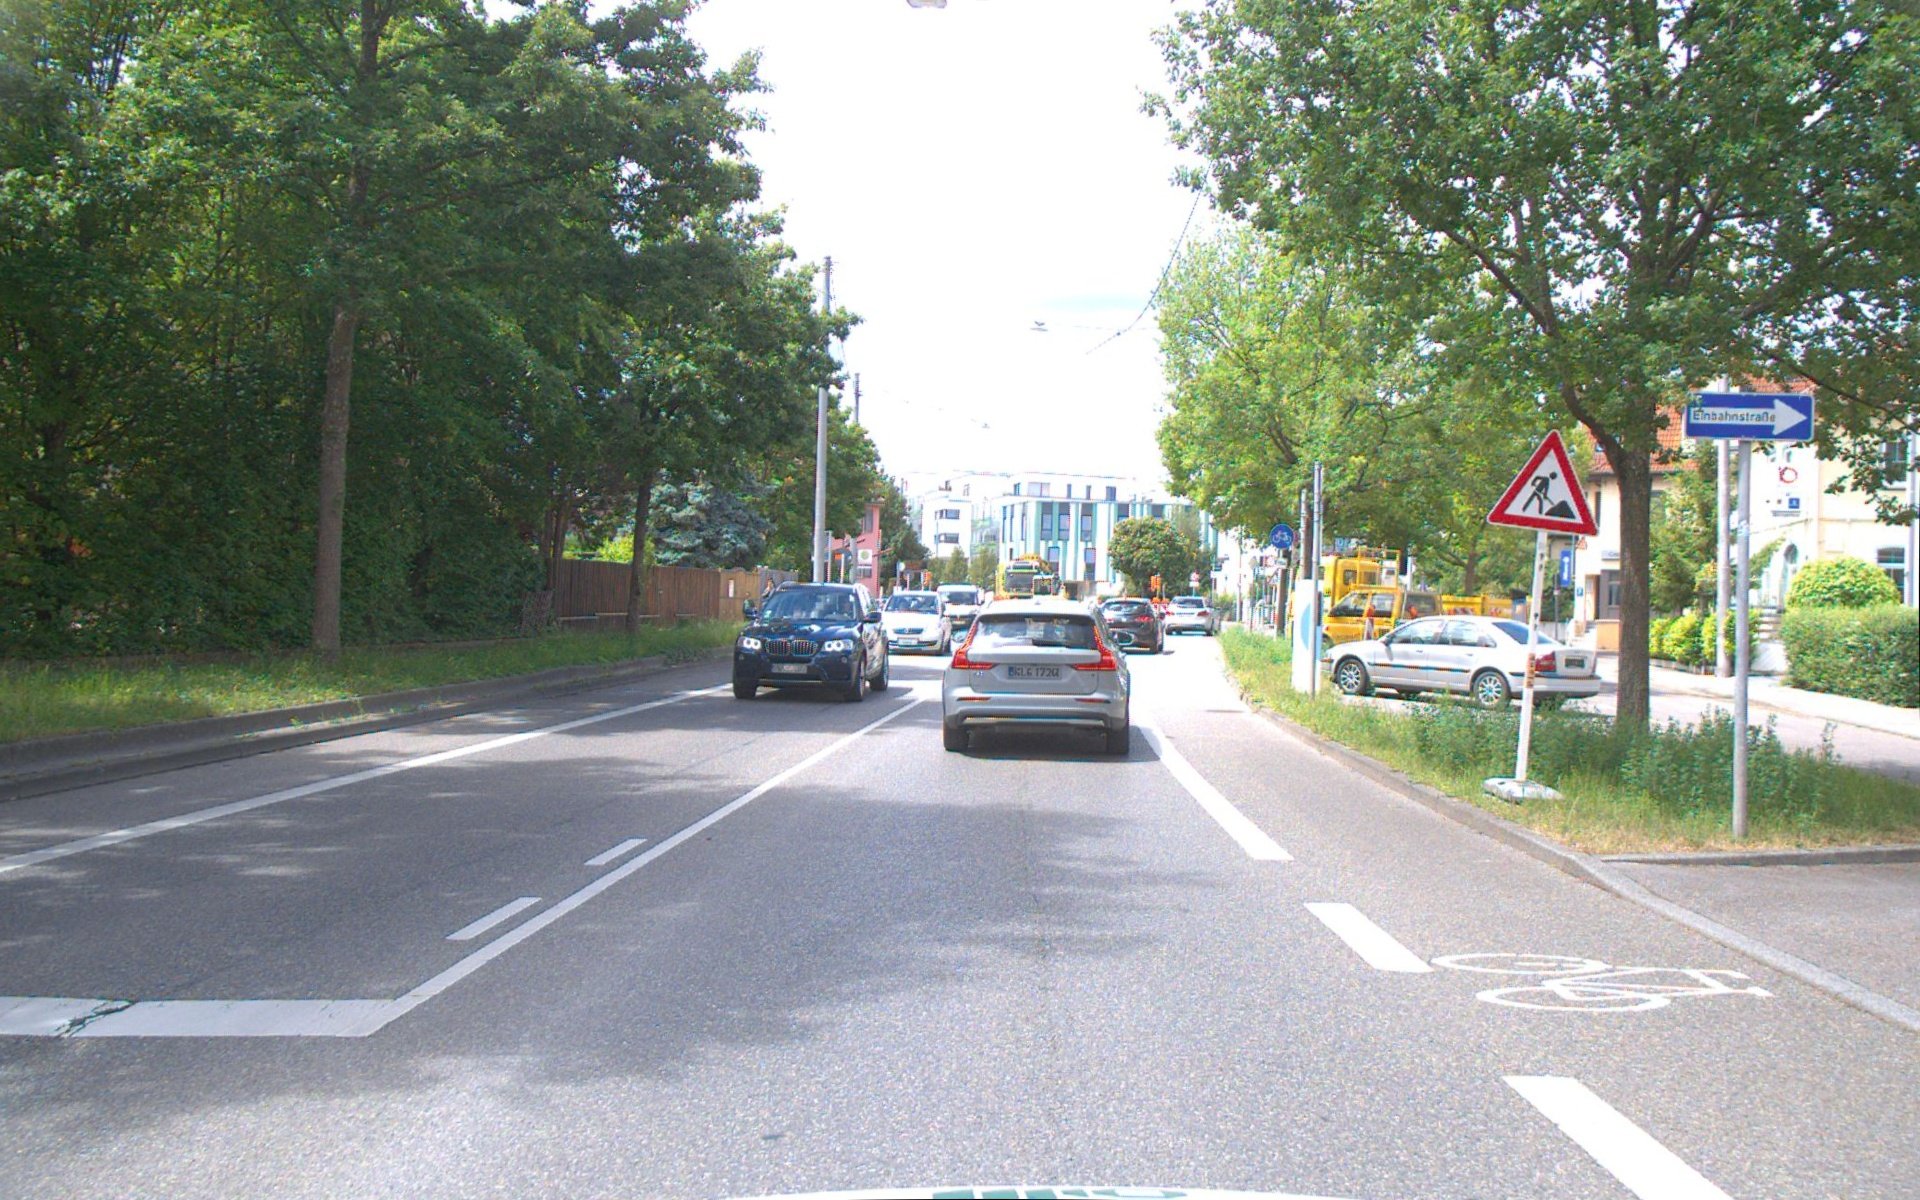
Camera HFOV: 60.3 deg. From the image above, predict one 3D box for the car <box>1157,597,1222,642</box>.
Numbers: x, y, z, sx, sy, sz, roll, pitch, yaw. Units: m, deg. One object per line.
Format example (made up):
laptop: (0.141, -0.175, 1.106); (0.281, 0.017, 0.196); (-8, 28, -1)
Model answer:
car: (8.922, 0.788, 64.579); (2.059, 1.536, 4.001); (4, -1, 3)

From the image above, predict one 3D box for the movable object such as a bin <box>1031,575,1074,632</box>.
movable object such as a bin: (4.610, 0.179, 82.047); (1.992, 2.689, 5.942); (1, 0, 3)

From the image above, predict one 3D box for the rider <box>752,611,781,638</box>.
rider: (-5.756, 0.723, 49.204); (0.714, 0.747, 0.690); (4, -2, 1)

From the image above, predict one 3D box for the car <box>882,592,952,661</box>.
car: (-1.076, 0.683, 42.710); (1.673, 1.646, 3.999); (2, -1, -1)

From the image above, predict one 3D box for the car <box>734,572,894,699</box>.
car: (-2.072, 0.489, 24.656); (1.841, 1.717, 4.248); (0, 0, 2)

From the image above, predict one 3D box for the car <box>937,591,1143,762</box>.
car: (0.834, 0.714, 17.218); (1.887, 1.567, 4.001); (0, 0, 3)

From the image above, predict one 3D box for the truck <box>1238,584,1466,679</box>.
truck: (9.932, 0.765, 42.356); (1.980, 2.048, 5.600); (5, -1, -38)

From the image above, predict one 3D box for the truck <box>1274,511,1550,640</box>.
truck: (12.018, -0.708, 44.391); (2.746, 3.060, 6.606); (5, -2, -42)

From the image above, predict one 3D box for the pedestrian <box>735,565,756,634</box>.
pedestrian: (-6.476, 0.000, 49.870); (0.394, 2.049, 0.414); (4, -1, 6)

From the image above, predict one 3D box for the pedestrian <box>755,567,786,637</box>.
pedestrian: (-5.727, 0.075, 50.035); (0.700, 2.049, 0.771); (4, -1, 1)

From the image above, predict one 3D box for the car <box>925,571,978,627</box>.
car: (-0.305, 0.012, 63.630); (1.811, 1.907, 4.593); (5, -1, 0)

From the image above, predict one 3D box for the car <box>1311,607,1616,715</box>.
car: (8.245, 0.970, 27.443); (1.751, 1.477, 4.623); (3, 0, -39)

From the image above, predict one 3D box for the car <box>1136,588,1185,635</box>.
car: (9.716, 0.594, 80.003); (1.951, 2.048, 4.003); (4, -1, 11)

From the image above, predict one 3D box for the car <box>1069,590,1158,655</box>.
car: (4.079, 0.611, 44.327); (1.629, 1.534, 3.698); (5, -1, -5)

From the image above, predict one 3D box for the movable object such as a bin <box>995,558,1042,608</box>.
movable object such as a bin: (3.680, -1.048, 105.550); (2.265, 3.042, 6.421); (1, 0, -4)
